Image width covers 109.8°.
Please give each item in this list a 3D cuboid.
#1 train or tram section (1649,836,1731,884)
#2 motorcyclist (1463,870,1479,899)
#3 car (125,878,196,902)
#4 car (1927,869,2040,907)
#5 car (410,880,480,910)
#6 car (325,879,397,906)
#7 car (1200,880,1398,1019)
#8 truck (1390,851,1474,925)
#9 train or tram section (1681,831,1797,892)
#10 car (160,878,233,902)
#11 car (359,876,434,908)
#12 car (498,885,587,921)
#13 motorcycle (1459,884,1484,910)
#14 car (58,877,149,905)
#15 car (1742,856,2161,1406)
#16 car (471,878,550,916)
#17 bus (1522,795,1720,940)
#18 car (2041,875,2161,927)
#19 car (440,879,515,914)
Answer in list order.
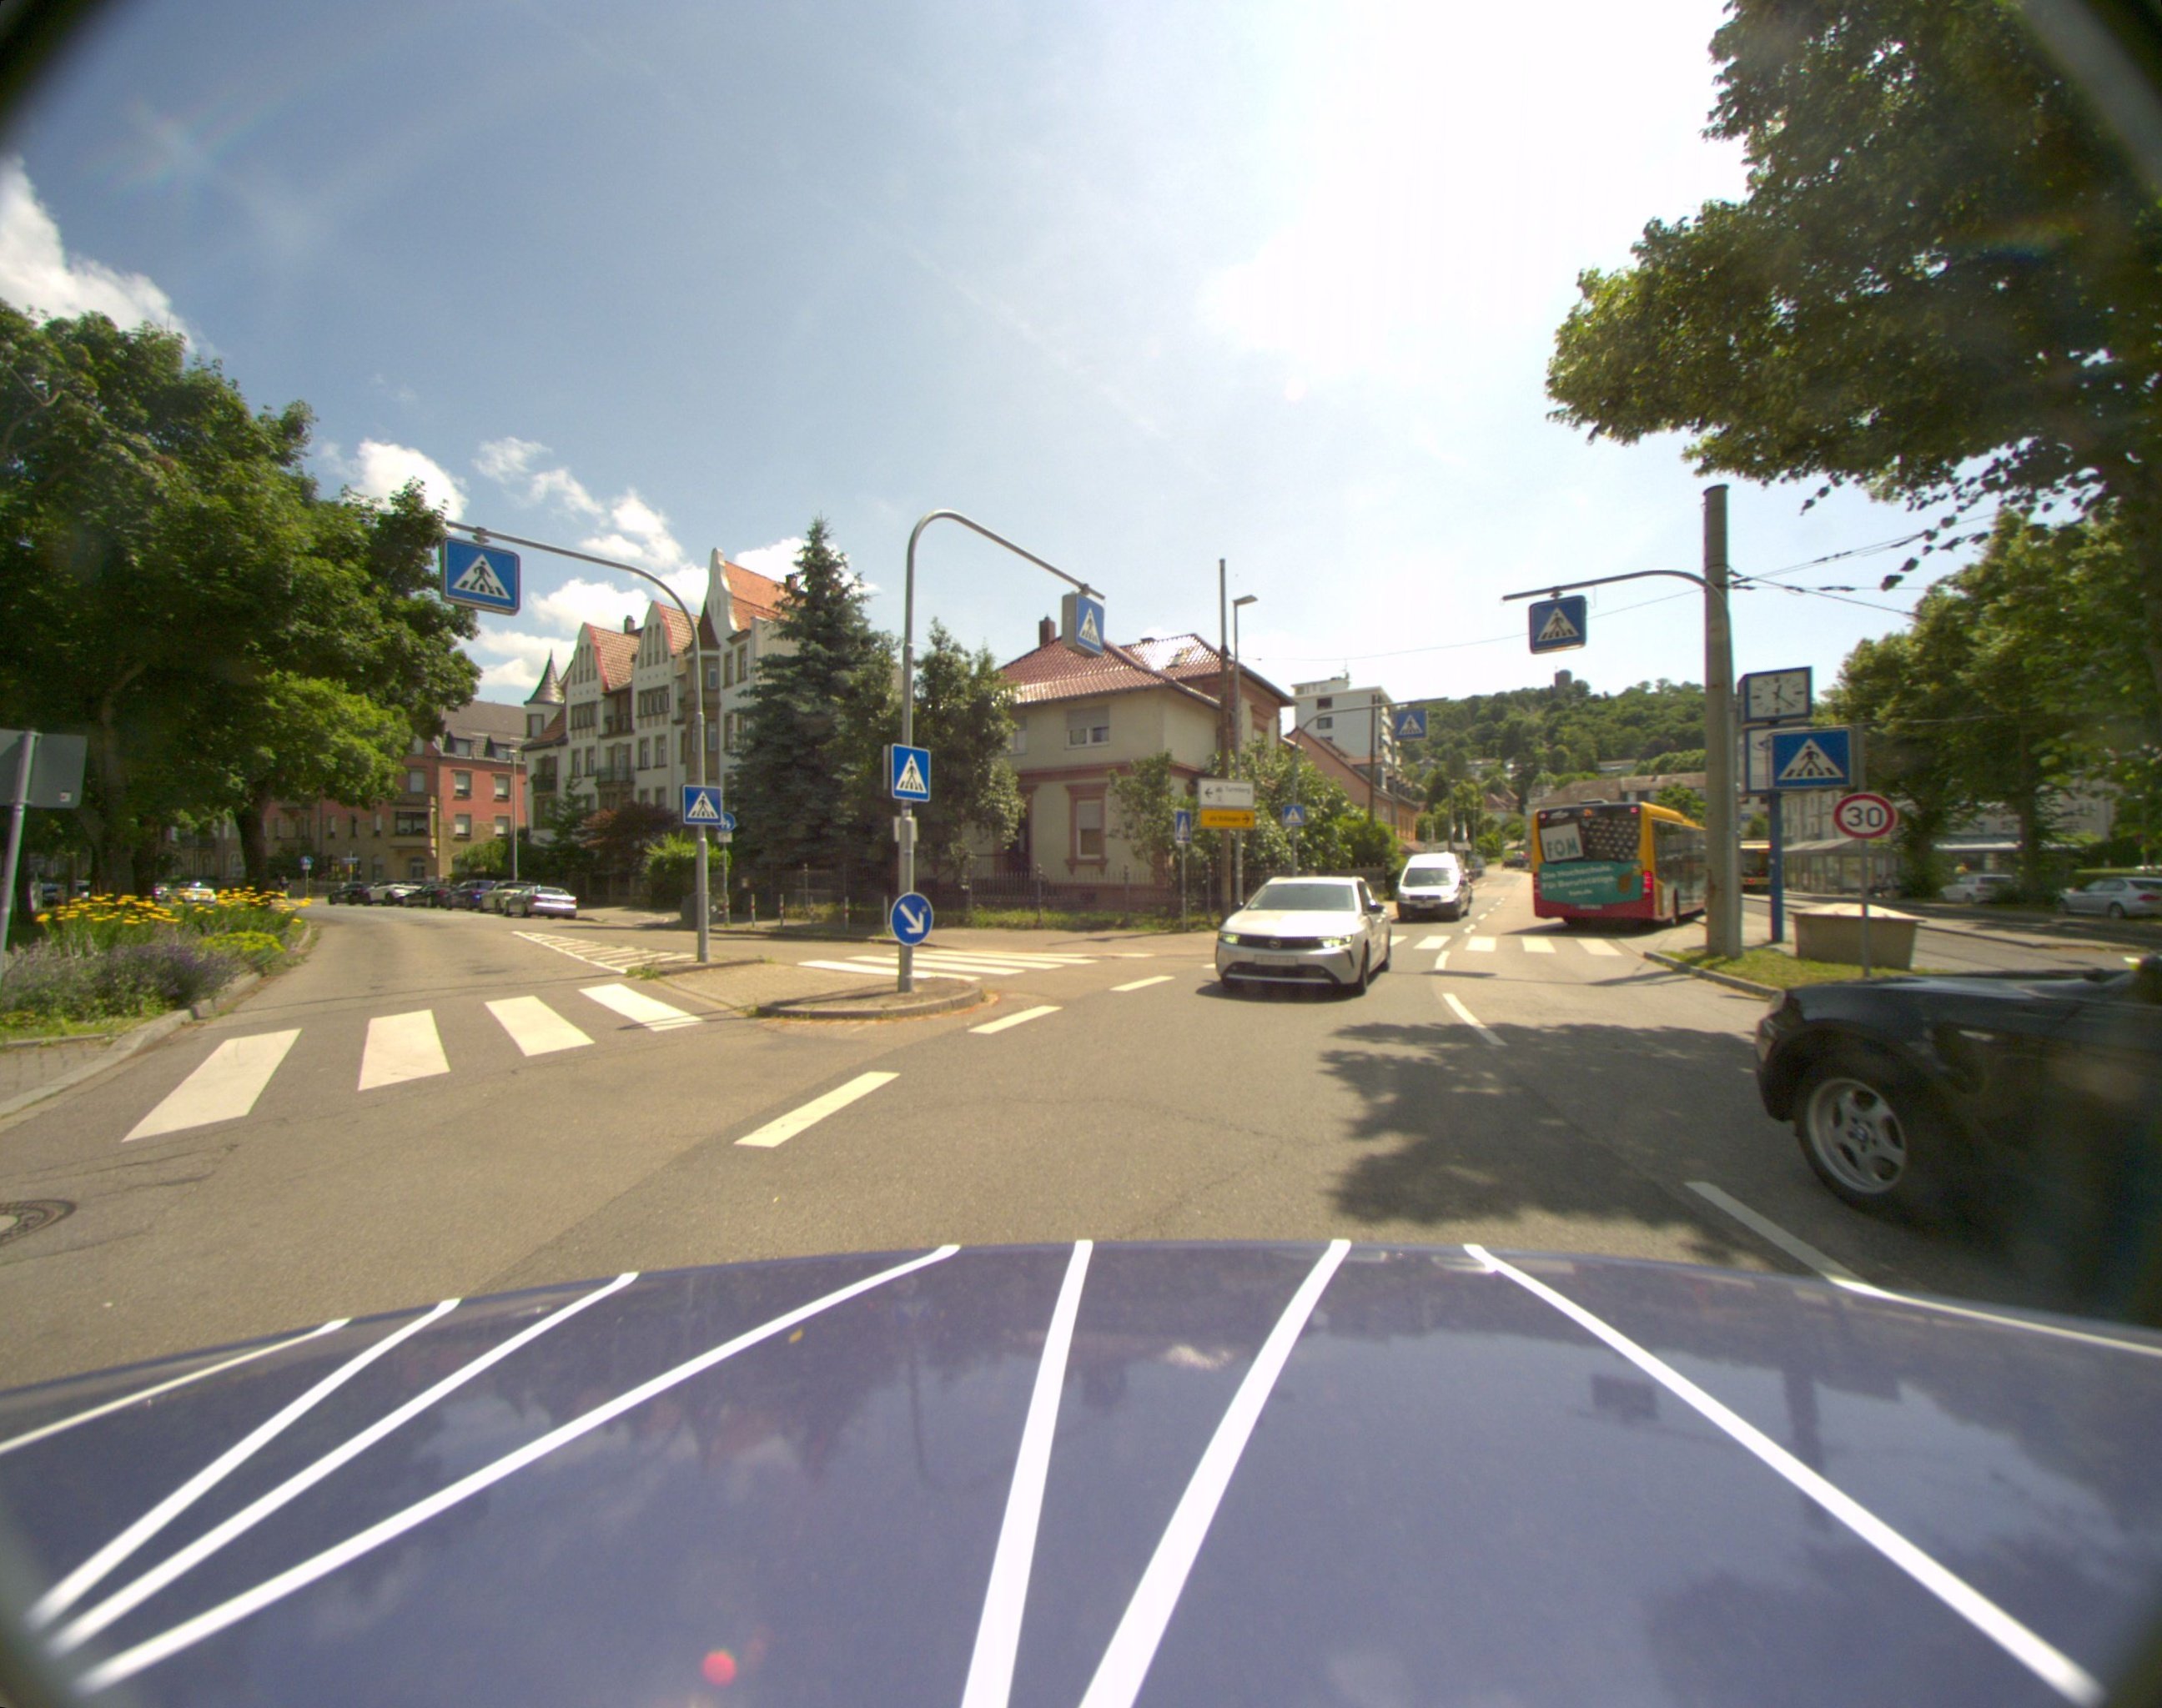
[{"bbox_3d":[50.041,0.472,62.908,2.891,3.499,13.929,-1,-1,29],"label":"train or tram section"},{"bbox_3d":[17.139,1.338,33.386,0.539,1.235,0.556,0,0,41],"label":"motorcyclist"},{"bbox_3d":[-66.969,2.622,55.287,4.176,1.608,2.003,-1,0,20],"label":"car"},{"bbox_3d":[38.392,1.408,32.448,1.840,1.473,3.881,-1,-1,29],"label":"car"},{"bbox_3d":[-33.738,2.174,40.278,3.989,1.379,1.780,-1,-6,35],"label":"car"},{"bbox_3d":[-42.790,2.271,45.159,3.865,1.381,1.779,0,-5,26],"label":"car"},{"bbox_3d":[3.223,1.129,10.591,1.798,1.457,4.180,-2,-1,28],"label":"car"},{"bbox_3d":[11.926,1.108,25.597,2.016,2.235,5.419,-3,-2,30],"label":"truck"},{"bbox_3d":[43.351,0.488,50.652,2.891,3.499,13.929,-1,-1,29],"label":"train or tram section"},{"bbox_3d":[-62.572,2.534,53.743,4.176,1.608,2.003,-1,0,20],"label":"car"},{"bbox_3d":[-38.700,2.150,42.977,3.865,1.603,1.779,0,-5,27],"label":"car"},{"bbox_3d":[-21.586,1.976,30.402,3.989,1.317,1.824,-3,-6,39],"label":"car"},{"bbox_3d":[17.173,1.874,33.385,0.667,1.051,1.439,0,0,41],"label":"motorcycle"},{"bbox_3d":[-60.105,2.261,46.752,4.177,1.608,2.003,-1,0,16],"label":"car"},{"bbox_3d":[4.137,0.841,1.538,1.861,1.622,4.328,1,0,1],"label":"car"},{"bbox_3d":[-25.436,1.903,33.830,3.989,1.505,1.780,-1,-6,39],"label":"car"},{"bbox_3d":[15.924,0.389,21.880,10.883,3.277,2.701,1,-2,-44],"label":"bus"},{"bbox_3d":[33.471,1.457,24.348,1.840,1.473,4.267,-1,-1,29],"label":"car"},{"bbox_3d":[-29.379,2.044,36.983,3.988,1.505,1.780,-1,-6,37],"label":"car"}]
